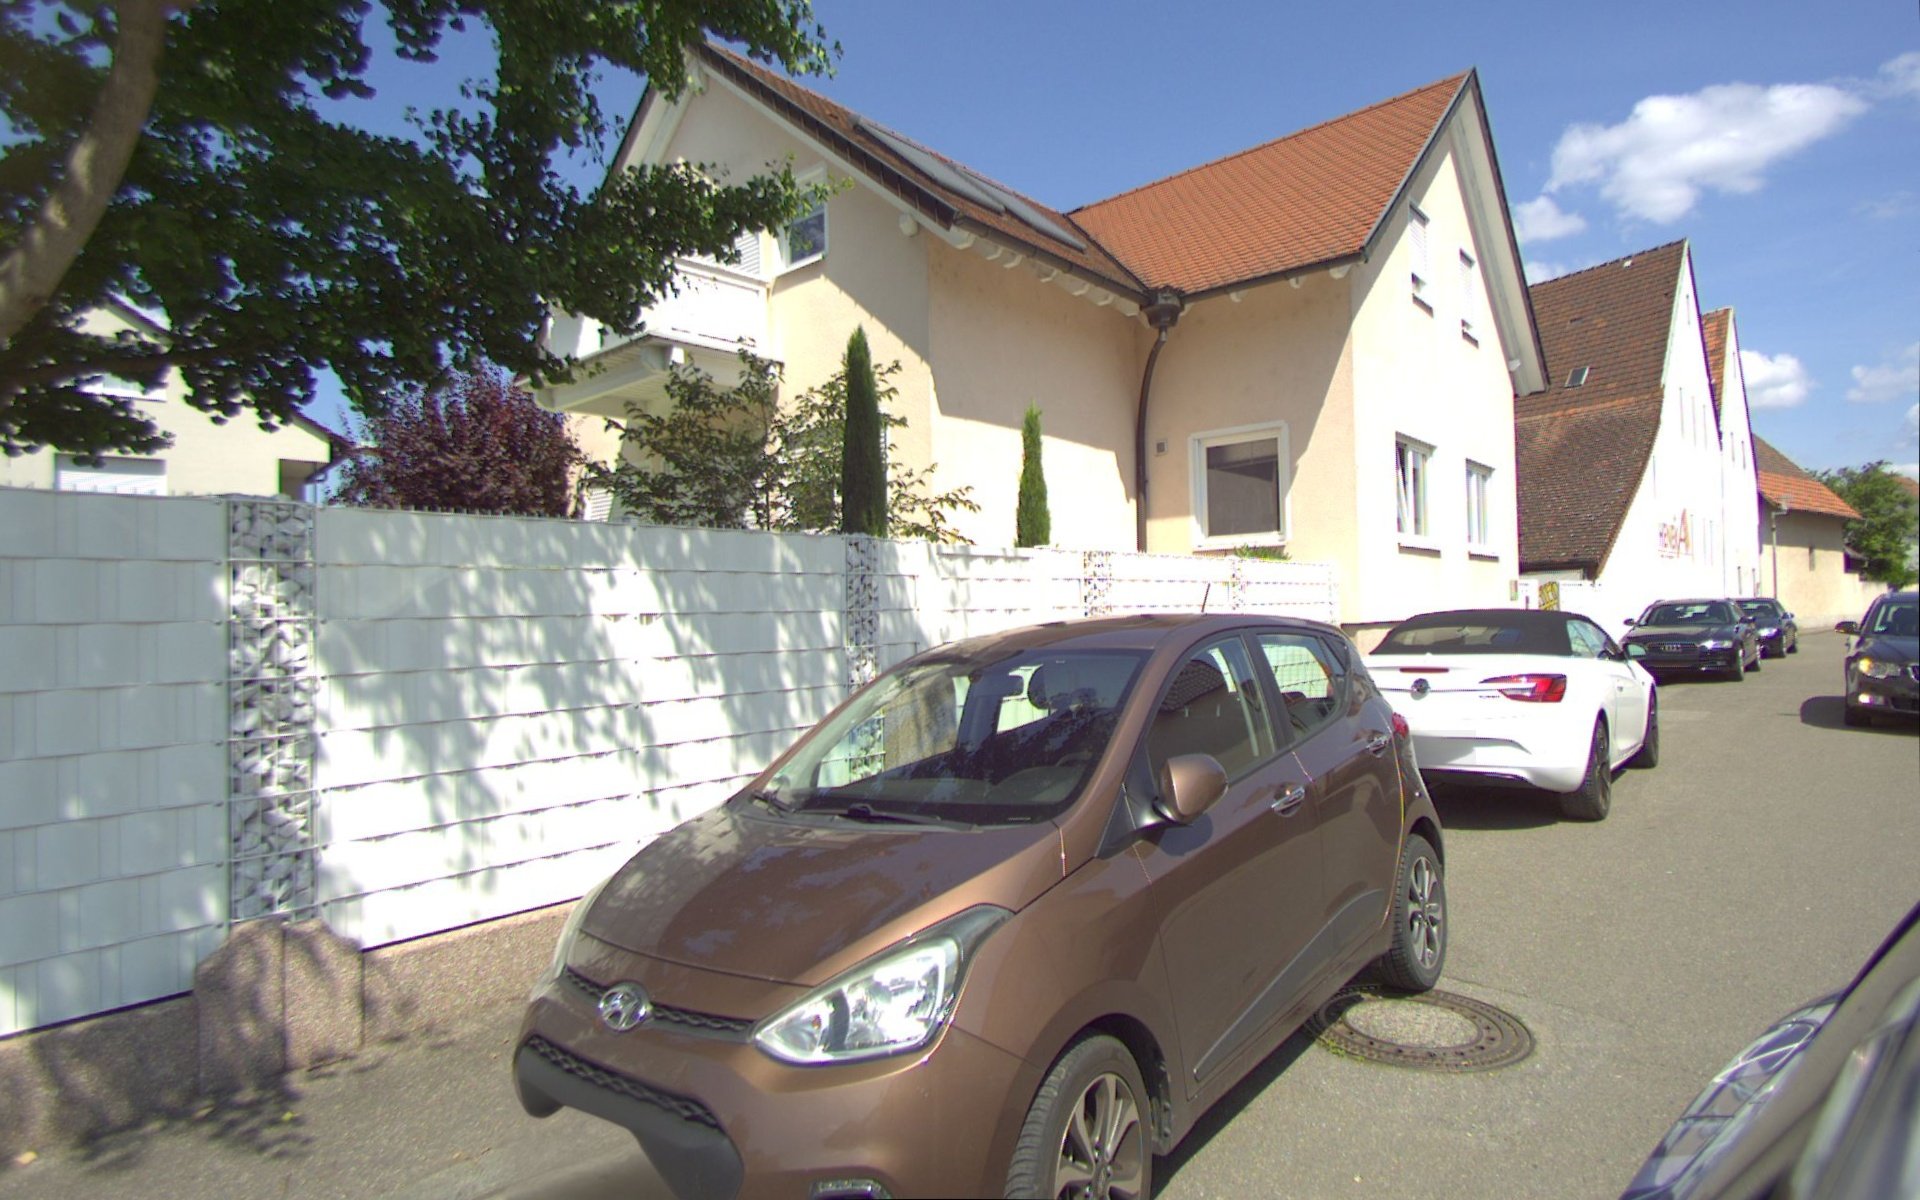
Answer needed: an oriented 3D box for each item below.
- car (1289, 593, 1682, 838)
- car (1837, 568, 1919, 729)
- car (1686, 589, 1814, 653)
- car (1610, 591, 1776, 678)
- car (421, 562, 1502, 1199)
[{"bbox_3d":[4.650,0.719,8.537,1.893,1.447,4.668,-3,-1,41],"label":"car"},{"bbox_3d":[11.121,0.542,11.315,1.778,1.555,4.642,2,-1,39],"label":"car"},{"bbox_3d":[19.347,0.476,24.717,4.343,1.382,1.896,-1,-1,-45],"label":"car"},{"bbox_3d":[13.787,0.582,18.926,1.895,1.382,4.663,-3,-1,43],"label":"car"},{"bbox_3d":[0.489,0.760,3.704,1.709,1.552,3.976,-7,-4,40],"label":"car"}]
